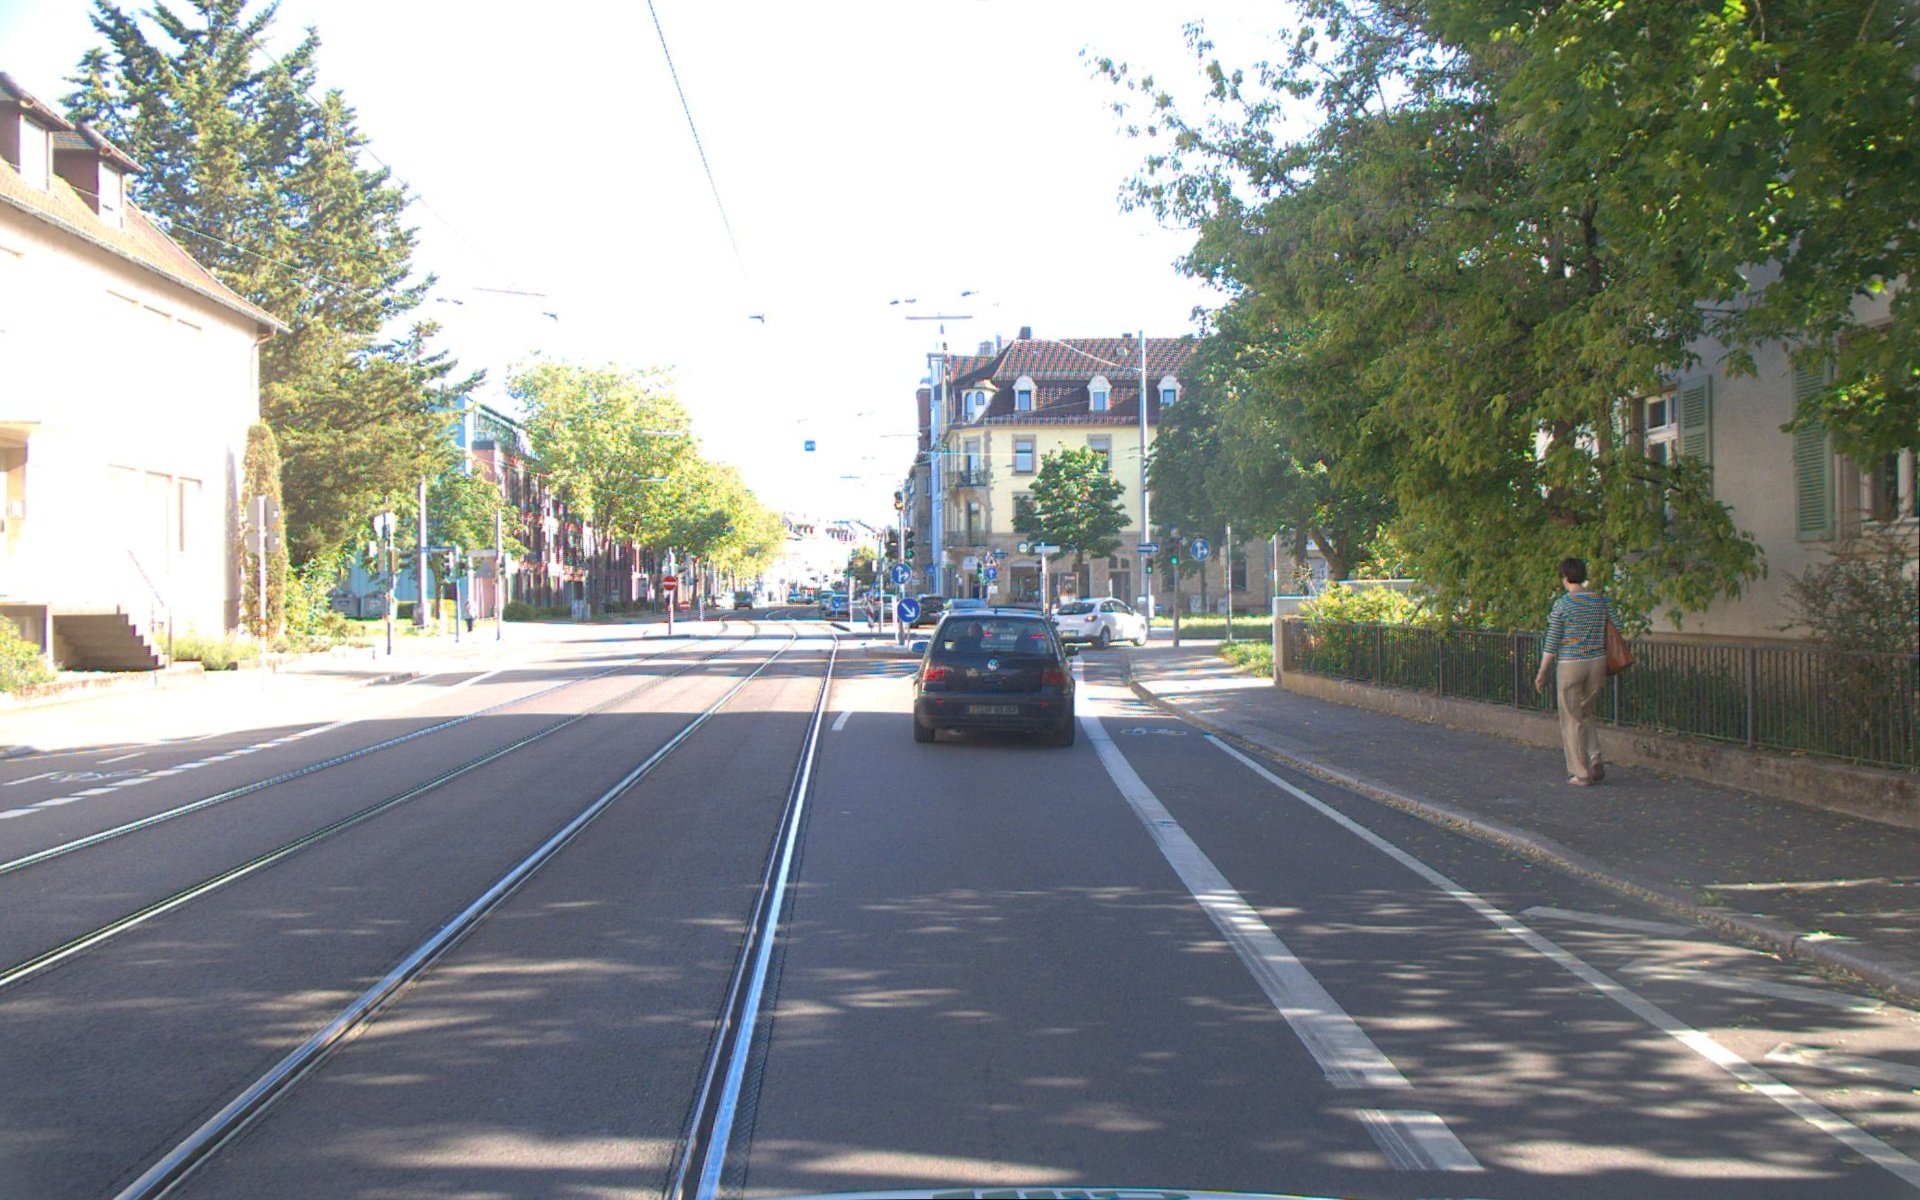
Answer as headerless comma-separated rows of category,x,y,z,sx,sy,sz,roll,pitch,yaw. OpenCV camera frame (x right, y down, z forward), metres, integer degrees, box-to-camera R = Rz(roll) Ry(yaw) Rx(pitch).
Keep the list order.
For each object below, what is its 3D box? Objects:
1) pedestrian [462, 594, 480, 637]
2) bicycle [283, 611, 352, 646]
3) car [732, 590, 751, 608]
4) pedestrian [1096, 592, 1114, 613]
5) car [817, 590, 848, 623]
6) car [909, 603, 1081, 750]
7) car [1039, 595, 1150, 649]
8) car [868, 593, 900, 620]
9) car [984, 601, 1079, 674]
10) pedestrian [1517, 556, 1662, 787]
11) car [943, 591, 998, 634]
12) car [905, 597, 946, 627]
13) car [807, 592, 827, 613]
pedestrian,-19.932,0.631,67.413,0.601,1.719,0.728,2,0,-22
bicycle,-19.766,0.870,50.911,1.904,1.033,0.538,-1,0,3
car,-23.018,-0.076,174.298,1.935,1.847,4.289,-1,0,-8
pedestrian,8.608,0.140,98.291,0.960,1.208,0.742,-1,0,-5
car,-7.670,0.369,99.386,1.752,1.892,3.995,-1,0,-6
car,0.451,0.760,18.341,1.680,1.427,4.008,1,0,3
car,3.946,0.621,47.994,1.708,1.466,3.801,-1,0,31
car,-4.347,0.346,94.095,1.648,1.479,3.375,-1,0,-6
car,1.430,0.745,34.484,1.602,1.396,3.755,-1,0,-3
pedestrian,4.887,0.535,12.891,0.704,1.717,0.869,-2,0,-5
car,0.345,0.423,58.965,1.540,1.334,3.643,-1,2,-6
car,-1.584,0.535,75.273,1.540,1.334,3.495,-1,0,-6
car,-12.769,0.221,147.492,1.752,1.892,3.995,-1,0,-6
